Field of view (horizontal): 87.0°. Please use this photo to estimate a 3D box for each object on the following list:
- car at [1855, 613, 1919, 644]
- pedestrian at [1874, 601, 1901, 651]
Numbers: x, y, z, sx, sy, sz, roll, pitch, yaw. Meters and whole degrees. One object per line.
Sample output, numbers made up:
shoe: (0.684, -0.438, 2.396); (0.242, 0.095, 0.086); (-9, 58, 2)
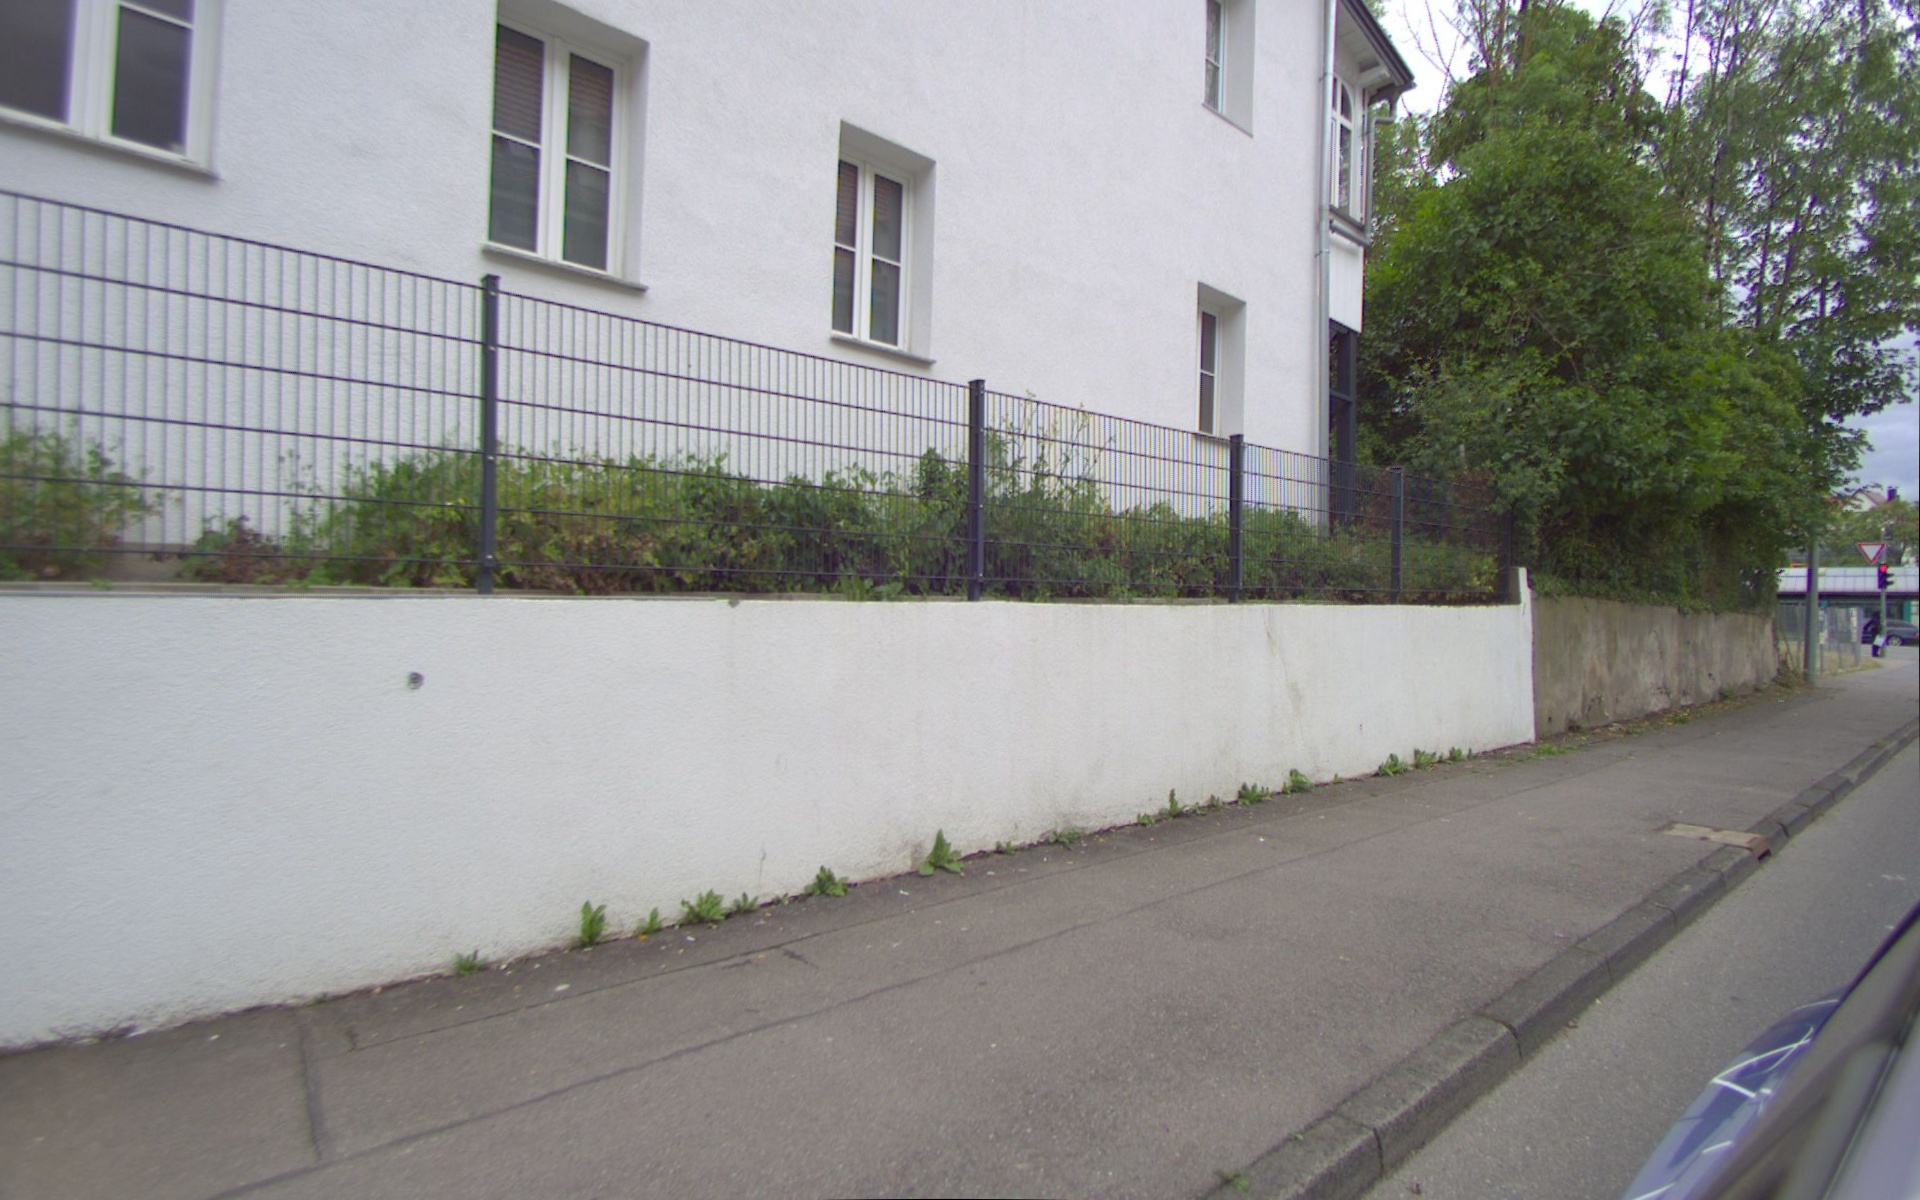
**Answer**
car: (46.147, 1.390, 49.119); (3.987, 1.427, 1.752); (2, 0, 43)
pedestrian: (31.065, 0.862, 33.898); (0.661, 1.610, 0.552); (1, 2, -44)
